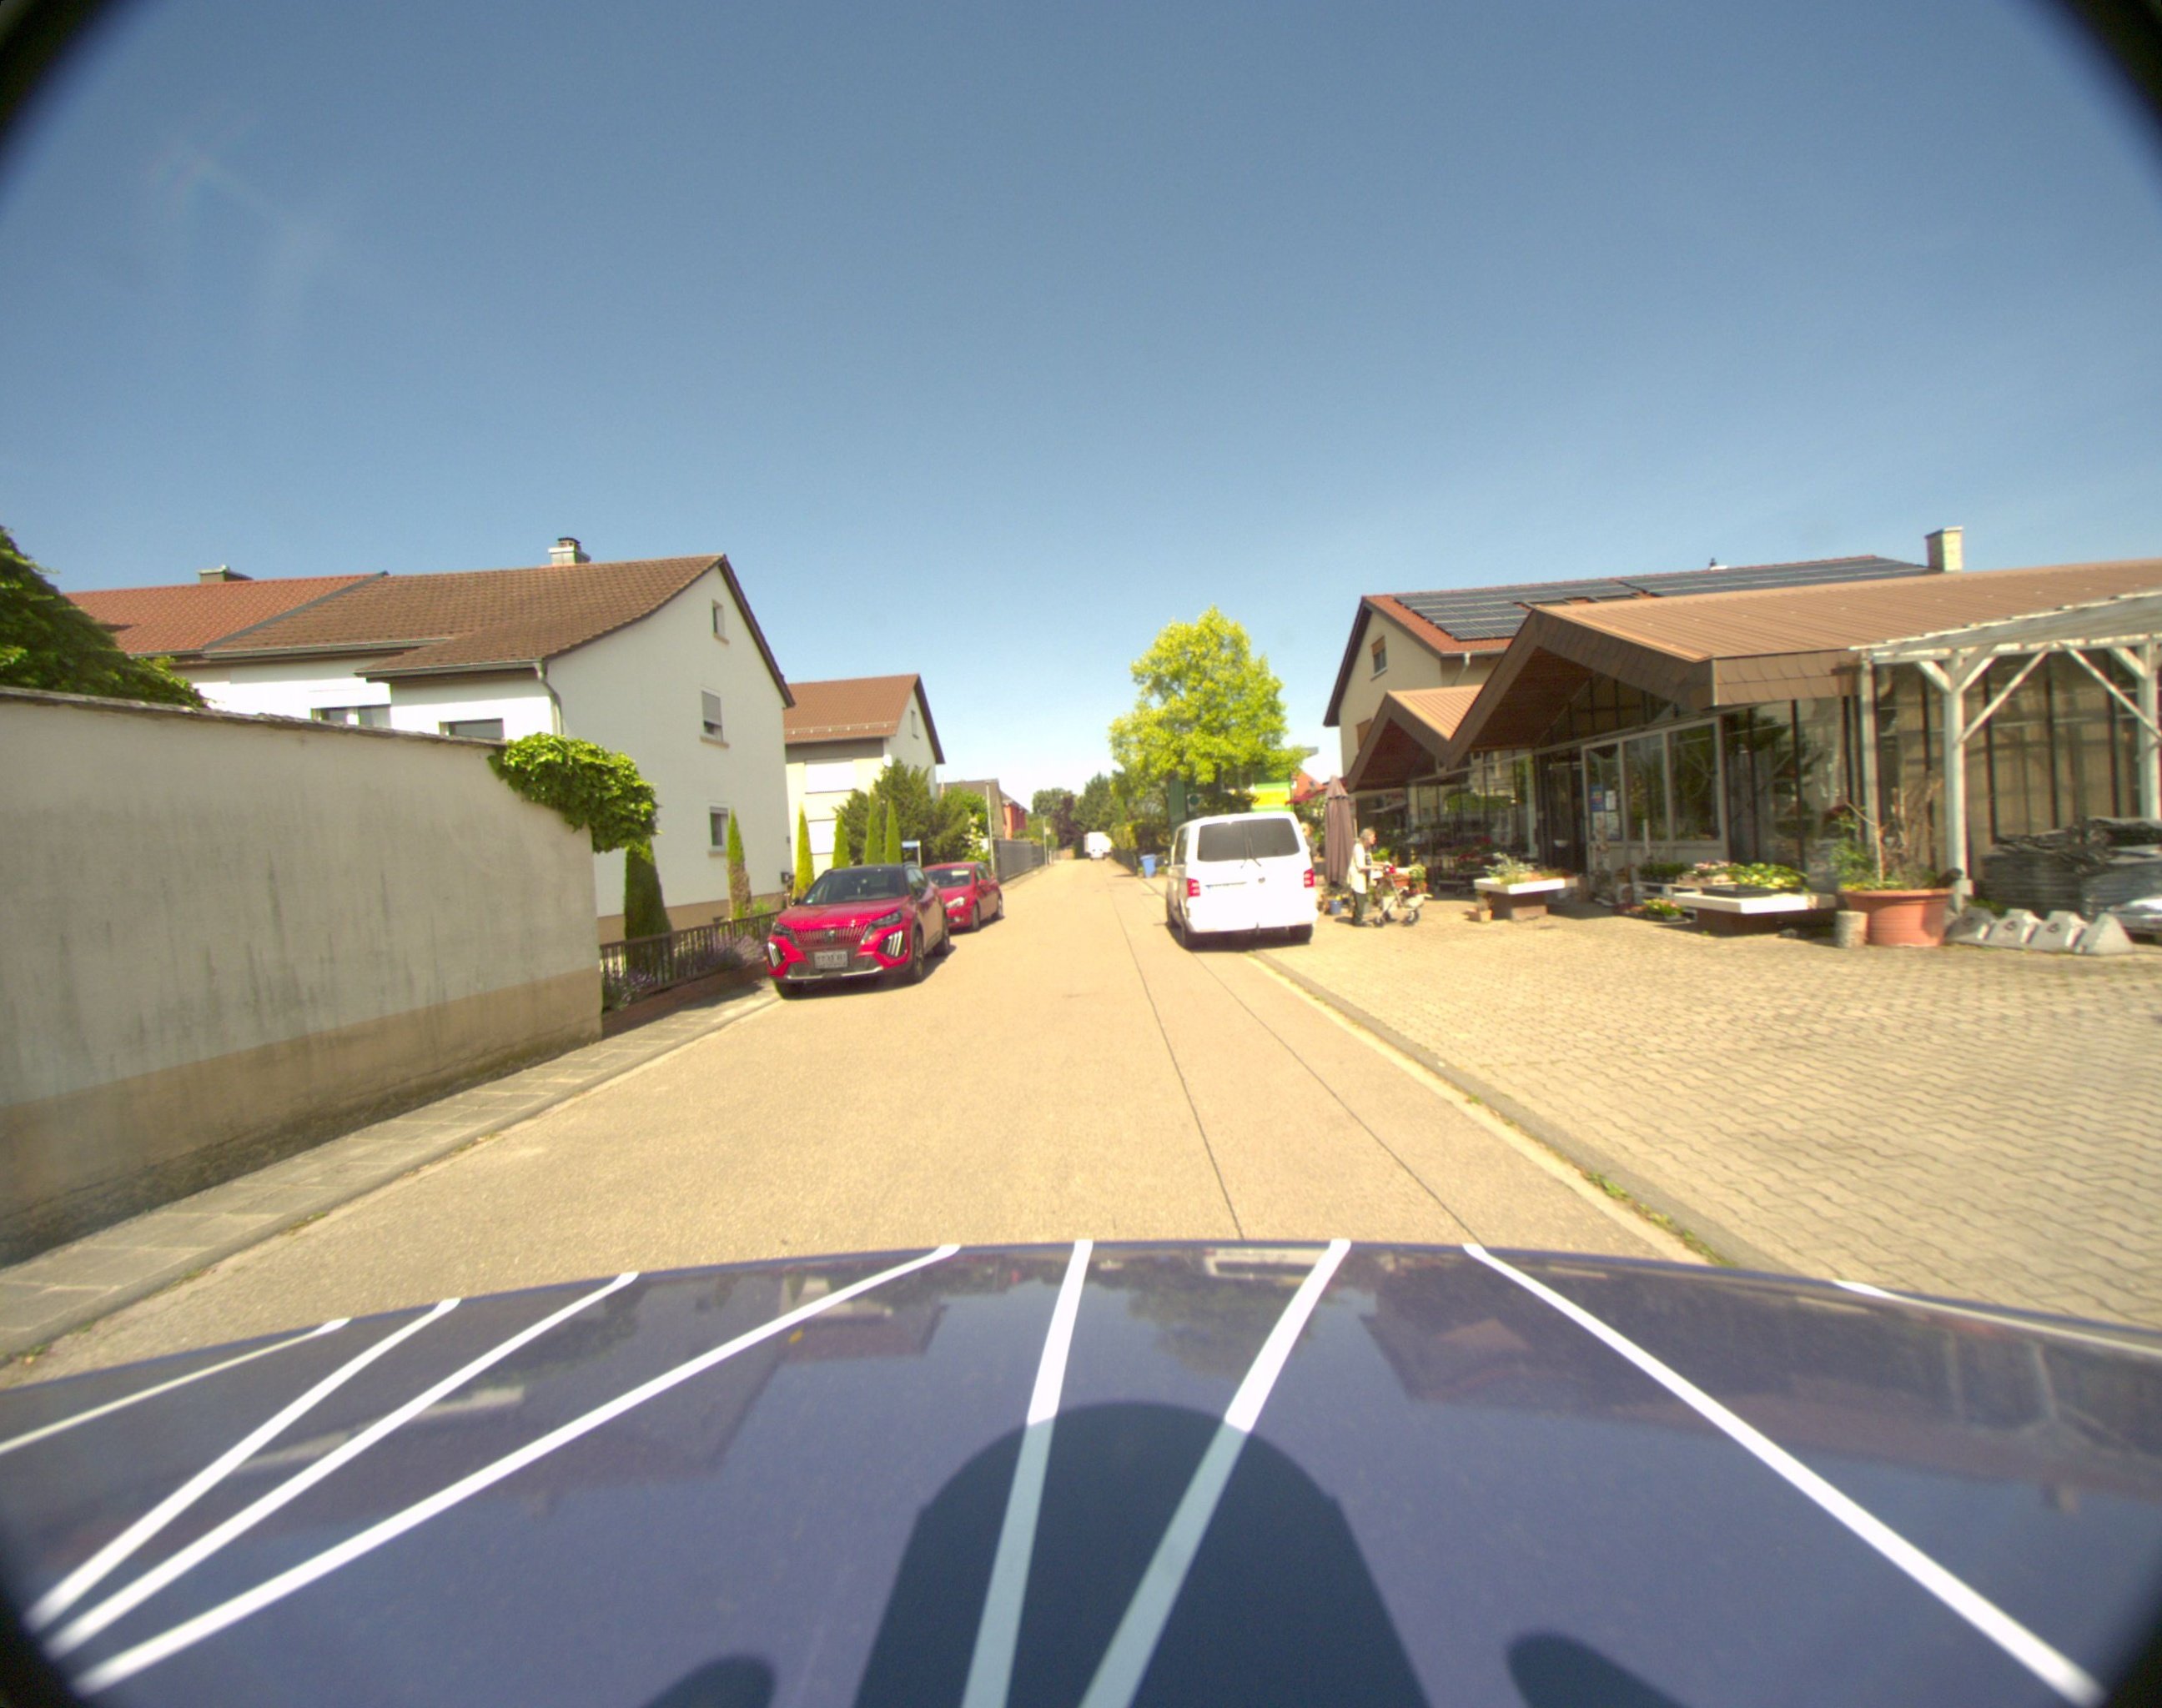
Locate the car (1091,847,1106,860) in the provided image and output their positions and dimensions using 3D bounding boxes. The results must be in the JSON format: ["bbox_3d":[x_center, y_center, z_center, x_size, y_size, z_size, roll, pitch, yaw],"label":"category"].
[{"bbox_3d":[2.138,-0.099,92.576,1.757,1.478,4.375,-3,1,1],"label":"car"}]

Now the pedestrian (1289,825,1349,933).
[{"bbox_3d":[3.931,0.410,12.532,0.690,1.721,0.643,-4,1,32],"label":"pedestrian"}]

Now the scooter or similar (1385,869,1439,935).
[{"bbox_3d":[5.095,0.734,11.701,0.601,0.940,0.622,-3,1,35],"label":"scooter or similar"}]

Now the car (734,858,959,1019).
[{"bbox_3d":[-2.940,0.954,10.516,1.827,1.606,3.999,-5,1,-1],"label":"car"}]

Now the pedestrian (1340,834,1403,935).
[{"bbox_3d":[4.600,0.471,12.029,0.717,1.530,0.643,-4,1,35],"label":"pedestrian"}]

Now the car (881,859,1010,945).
[{"bbox_3d":[-2.889,0.970,17.161,1.779,1.471,4.000,-5,1,5],"label":"car"}]

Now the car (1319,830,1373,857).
[{"bbox_3d":[16.022,-0.671,46.196,1.861,1.439,3.999,-5,2,1],"label":"car"}]

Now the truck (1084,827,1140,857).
[{"bbox_3d":[4.620,-1.762,112.271,7.591,3.866,2.876,-4,1,-14],"label":"truck"}]

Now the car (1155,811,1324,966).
[{"bbox_3d":[2.394,0.432,12.788,1.933,2.002,4.896,-4,1,3],"label":"car"}]

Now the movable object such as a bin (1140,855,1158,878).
[{"bbox_3d":[3.261,0.585,36.552,0.732,1.048,0.612,-5,1,1],"label":"movable object such as a bin"}]
